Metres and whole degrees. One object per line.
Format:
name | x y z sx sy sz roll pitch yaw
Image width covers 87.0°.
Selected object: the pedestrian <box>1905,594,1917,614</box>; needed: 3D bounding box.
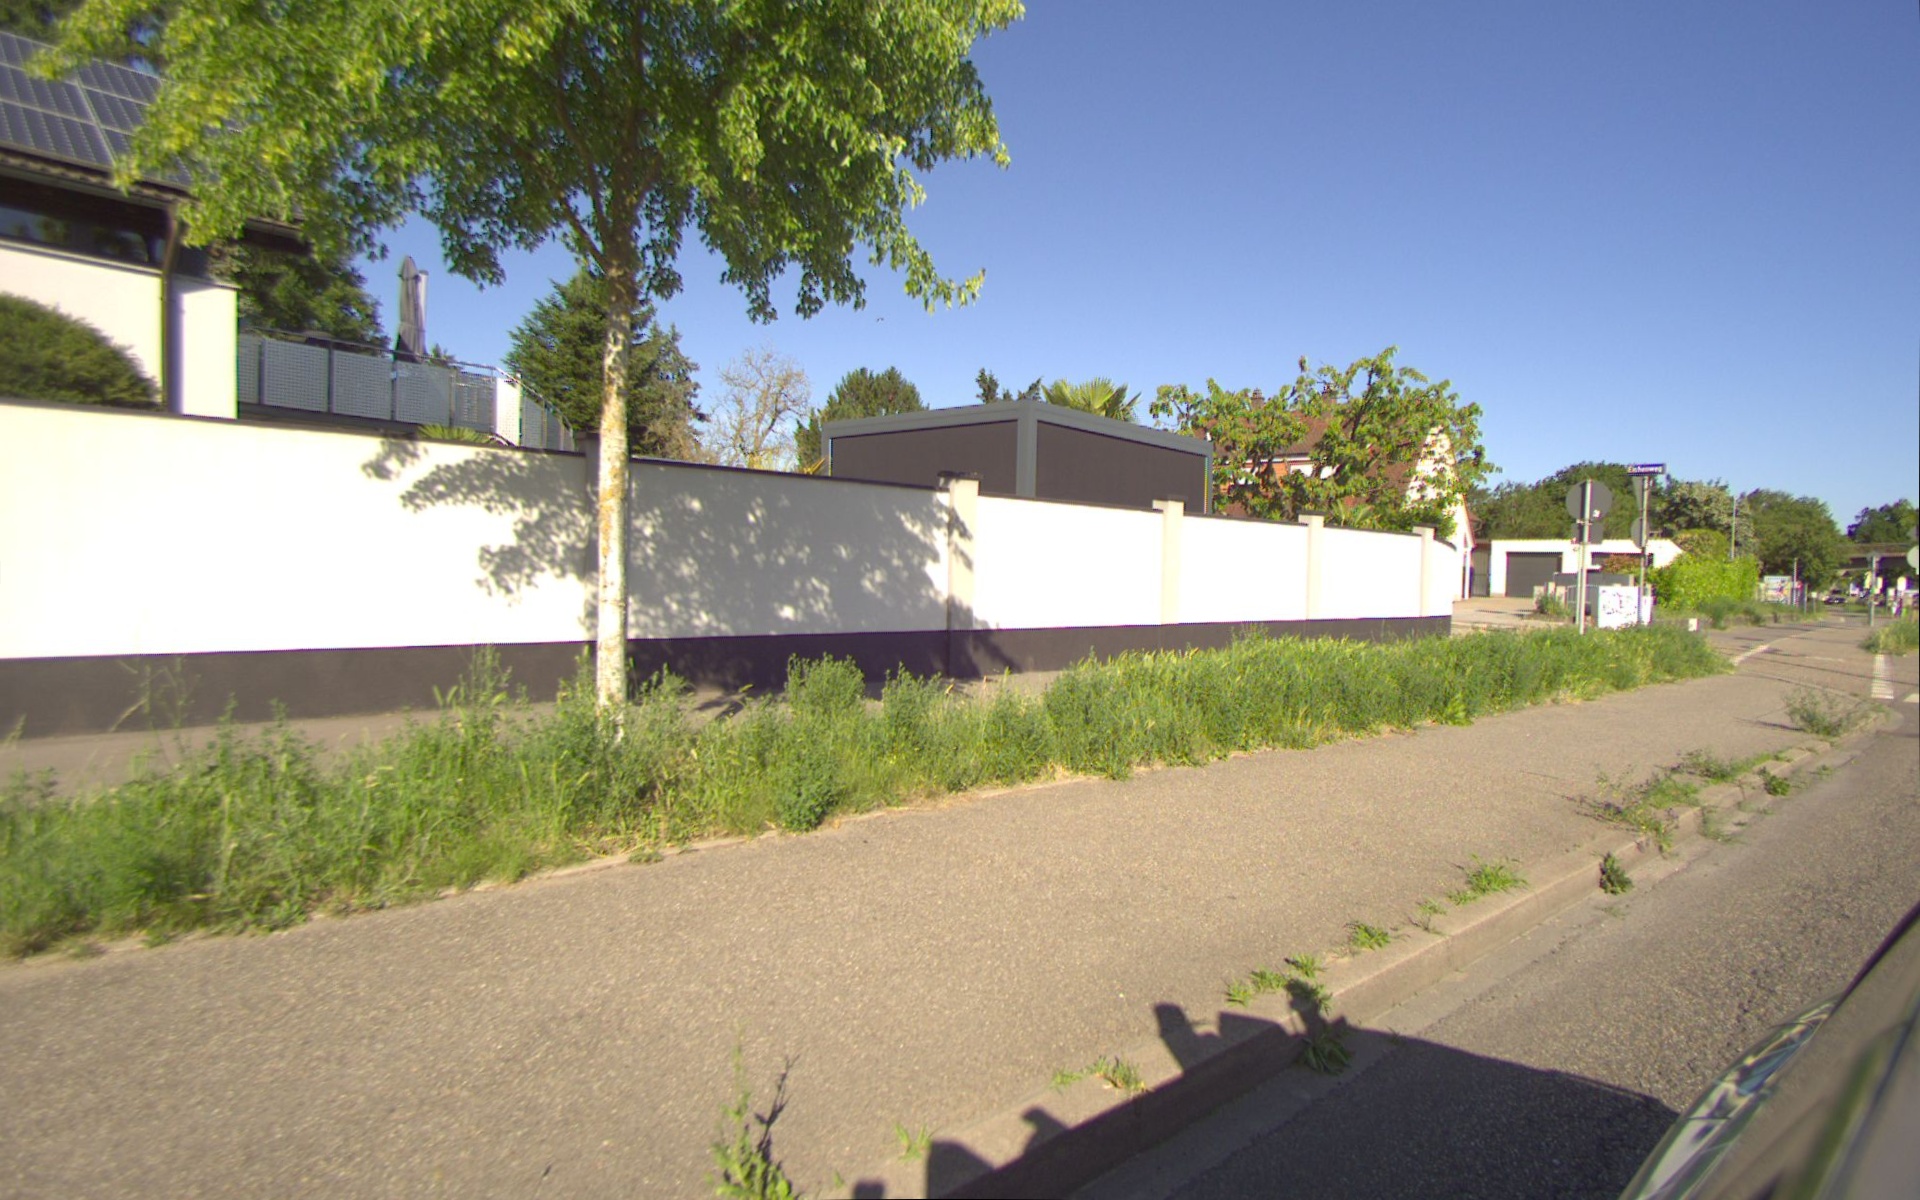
pedestrian | 83.051 0.331 88.383 0.587 1.683 0.706 3 1 39
